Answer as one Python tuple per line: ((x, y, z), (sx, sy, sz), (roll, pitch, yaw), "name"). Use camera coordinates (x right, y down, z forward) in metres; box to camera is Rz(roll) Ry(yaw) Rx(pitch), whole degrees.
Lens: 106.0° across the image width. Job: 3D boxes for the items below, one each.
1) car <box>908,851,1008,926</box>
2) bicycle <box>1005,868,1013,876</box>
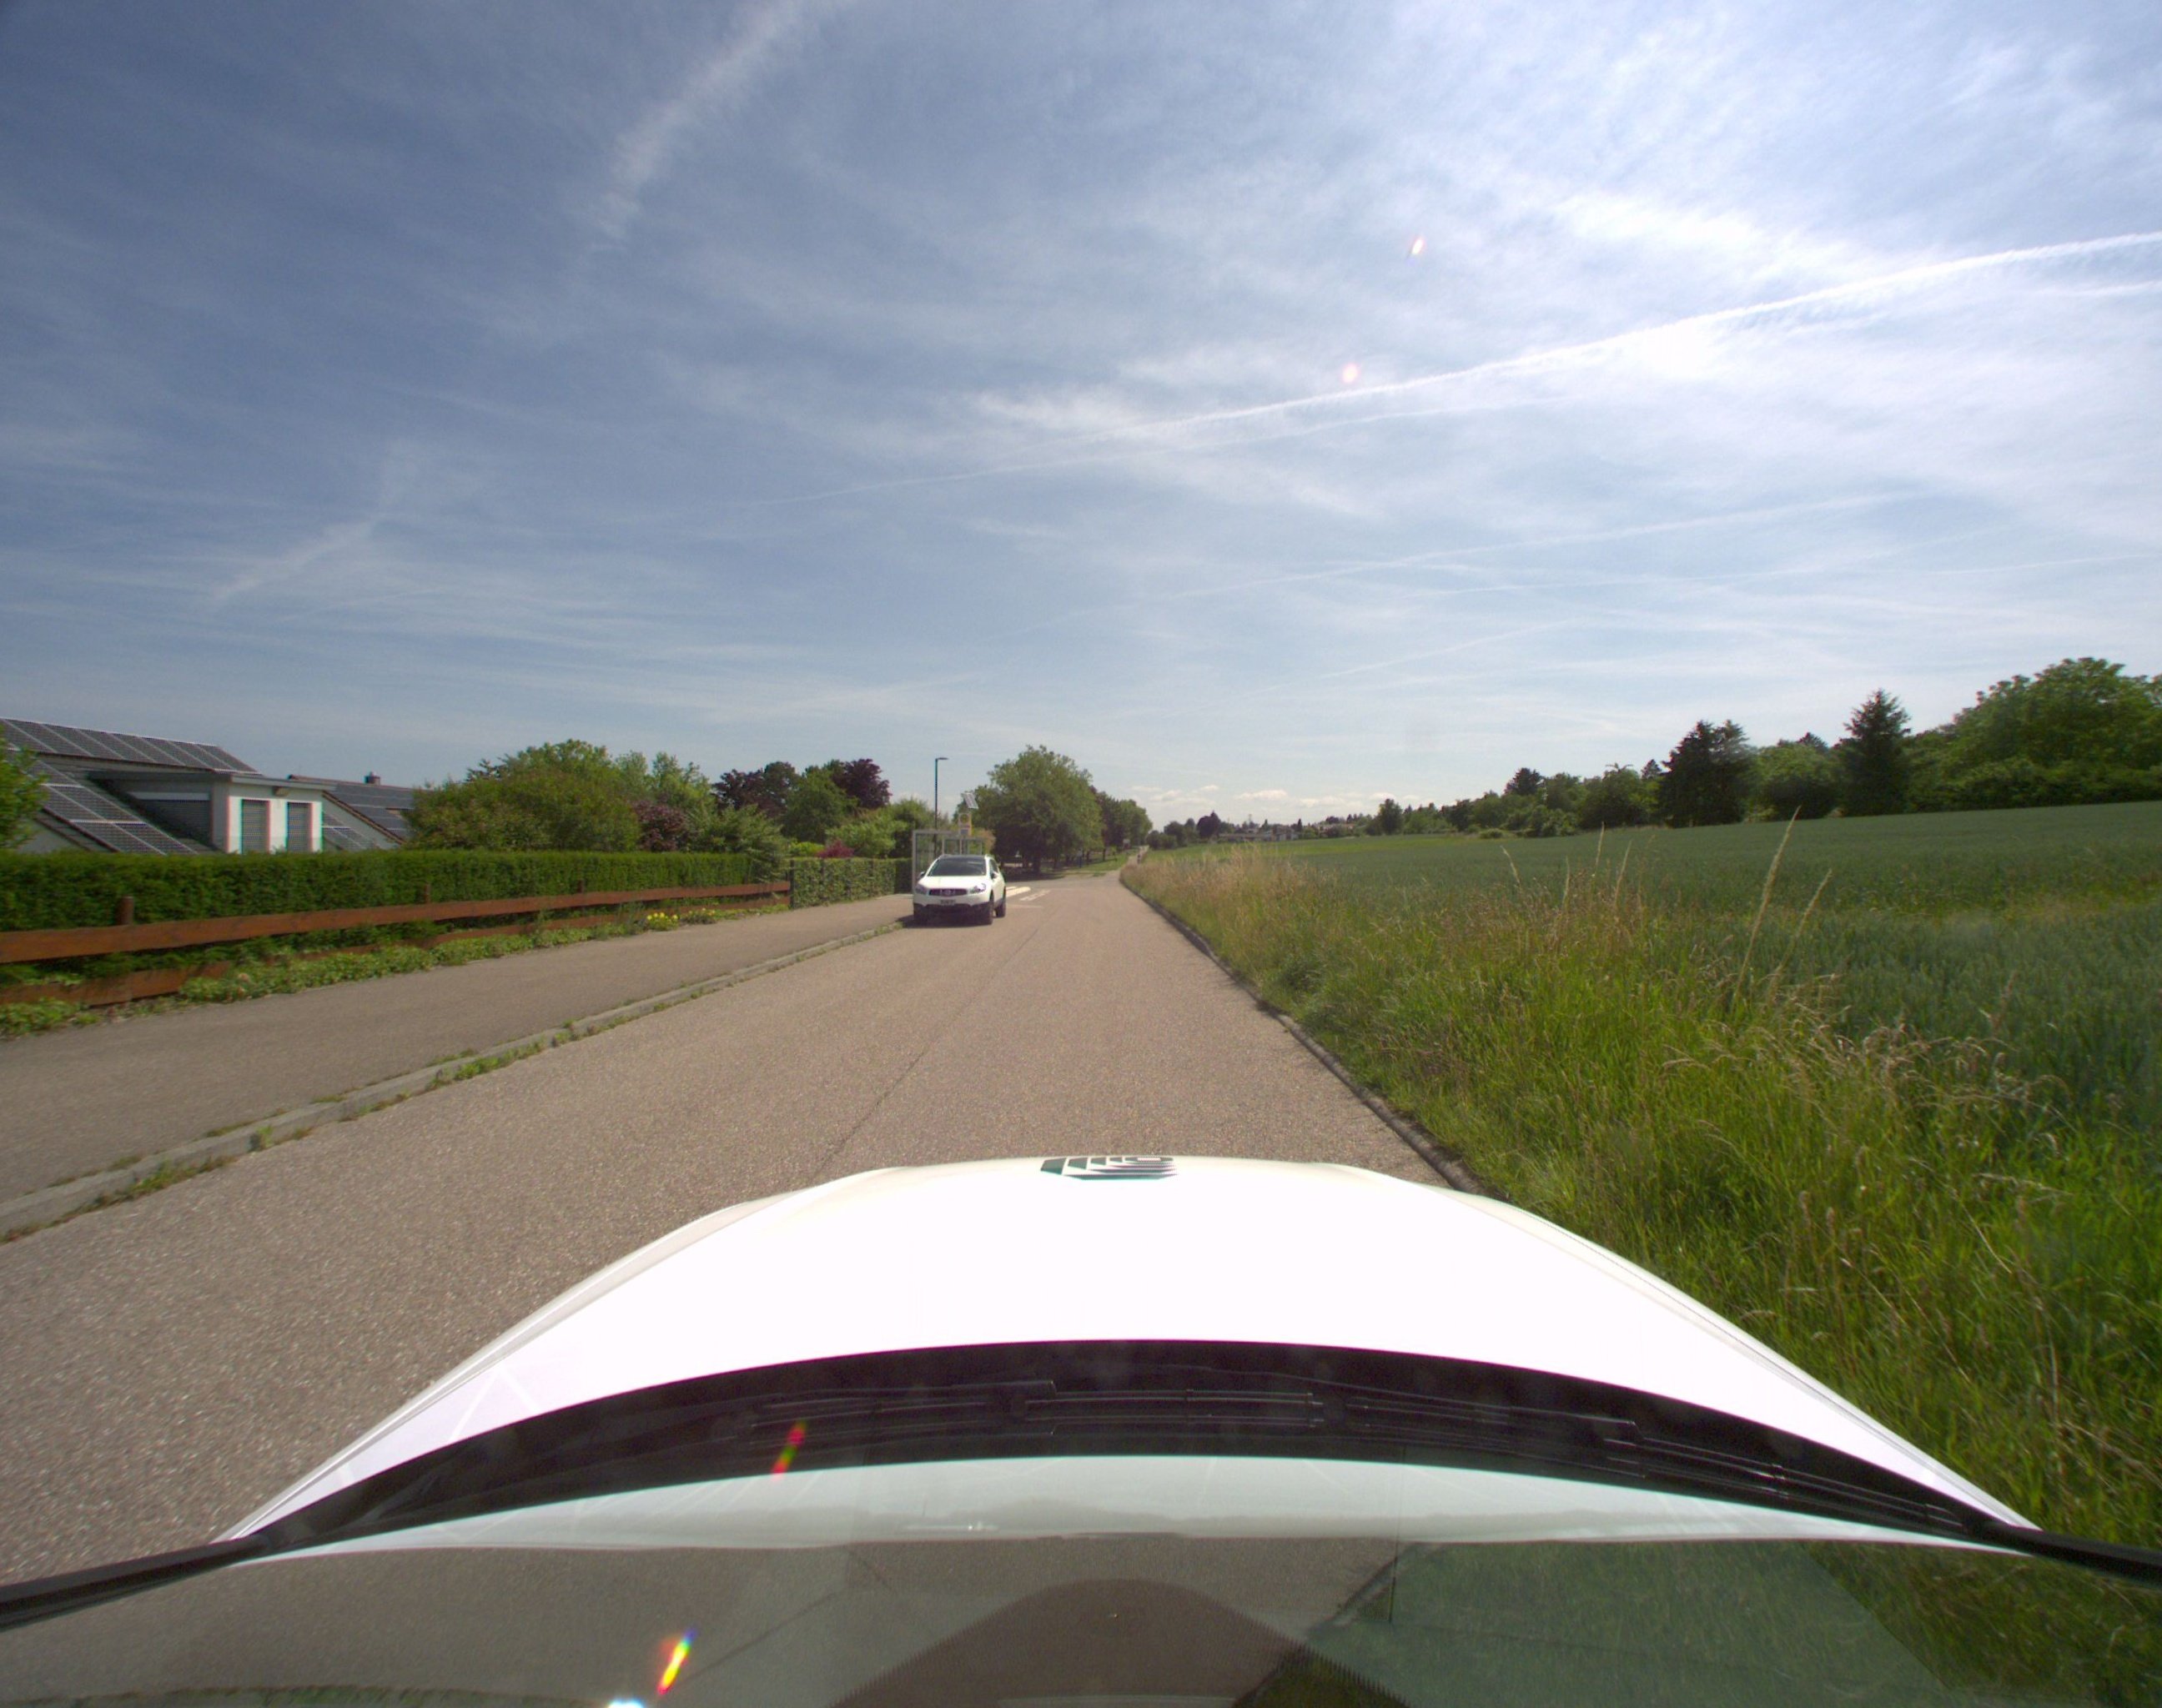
((-2.889, 0.789, 20.050), (1.728, 1.633, 4.352), (-1, -1, 1), "car")
((-9.905, 2.426, 111.807), (0.590, 1.039, 1.899), (-2, 0, 12), "bicycle")
